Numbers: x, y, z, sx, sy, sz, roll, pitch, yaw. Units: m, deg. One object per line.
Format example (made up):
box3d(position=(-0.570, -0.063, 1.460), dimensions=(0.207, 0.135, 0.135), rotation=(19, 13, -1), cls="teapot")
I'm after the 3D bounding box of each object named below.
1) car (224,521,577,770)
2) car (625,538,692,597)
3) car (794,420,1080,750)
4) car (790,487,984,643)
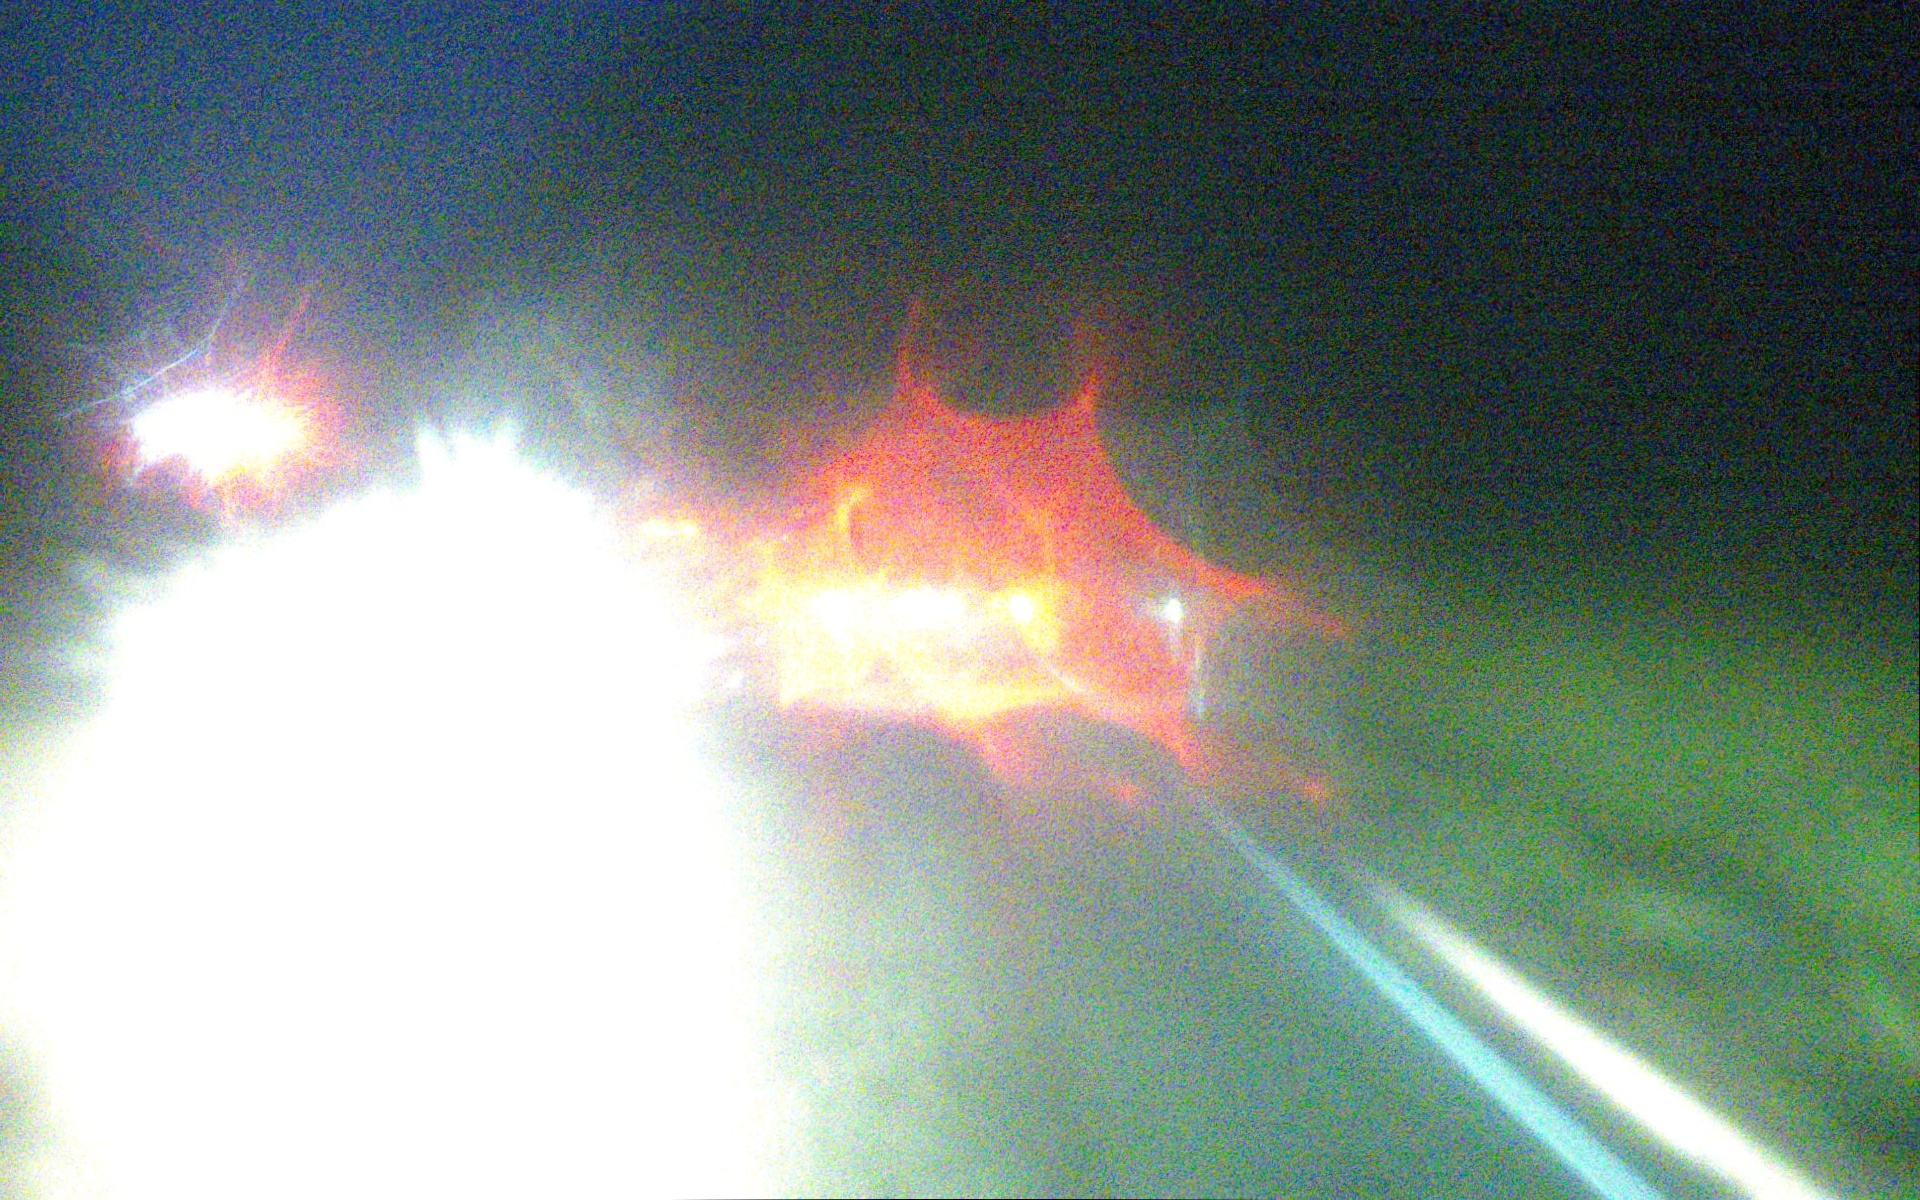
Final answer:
box3d(position=(-3.623, 0.276, 22.996), dimensions=(1.919, 1.466, 4.575), rotation=(-1, 0, -4), cls="car")
box3d(position=(-10.960, -1.196, 125.215), dimensions=(1.993, 2.007, 4.000), rotation=(-3, 1, -1), cls="car")
box3d(position=(-0.208, -0.226, 29.593), dimensions=(2.181, 2.548, 4.508), rotation=(2, 3, -1), cls="car")
box3d(position=(-1.350, -0.750, 65.159), dimensions=(3.381, 2.548, 7.337), rotation=(2, 3, -1), cls="car")
